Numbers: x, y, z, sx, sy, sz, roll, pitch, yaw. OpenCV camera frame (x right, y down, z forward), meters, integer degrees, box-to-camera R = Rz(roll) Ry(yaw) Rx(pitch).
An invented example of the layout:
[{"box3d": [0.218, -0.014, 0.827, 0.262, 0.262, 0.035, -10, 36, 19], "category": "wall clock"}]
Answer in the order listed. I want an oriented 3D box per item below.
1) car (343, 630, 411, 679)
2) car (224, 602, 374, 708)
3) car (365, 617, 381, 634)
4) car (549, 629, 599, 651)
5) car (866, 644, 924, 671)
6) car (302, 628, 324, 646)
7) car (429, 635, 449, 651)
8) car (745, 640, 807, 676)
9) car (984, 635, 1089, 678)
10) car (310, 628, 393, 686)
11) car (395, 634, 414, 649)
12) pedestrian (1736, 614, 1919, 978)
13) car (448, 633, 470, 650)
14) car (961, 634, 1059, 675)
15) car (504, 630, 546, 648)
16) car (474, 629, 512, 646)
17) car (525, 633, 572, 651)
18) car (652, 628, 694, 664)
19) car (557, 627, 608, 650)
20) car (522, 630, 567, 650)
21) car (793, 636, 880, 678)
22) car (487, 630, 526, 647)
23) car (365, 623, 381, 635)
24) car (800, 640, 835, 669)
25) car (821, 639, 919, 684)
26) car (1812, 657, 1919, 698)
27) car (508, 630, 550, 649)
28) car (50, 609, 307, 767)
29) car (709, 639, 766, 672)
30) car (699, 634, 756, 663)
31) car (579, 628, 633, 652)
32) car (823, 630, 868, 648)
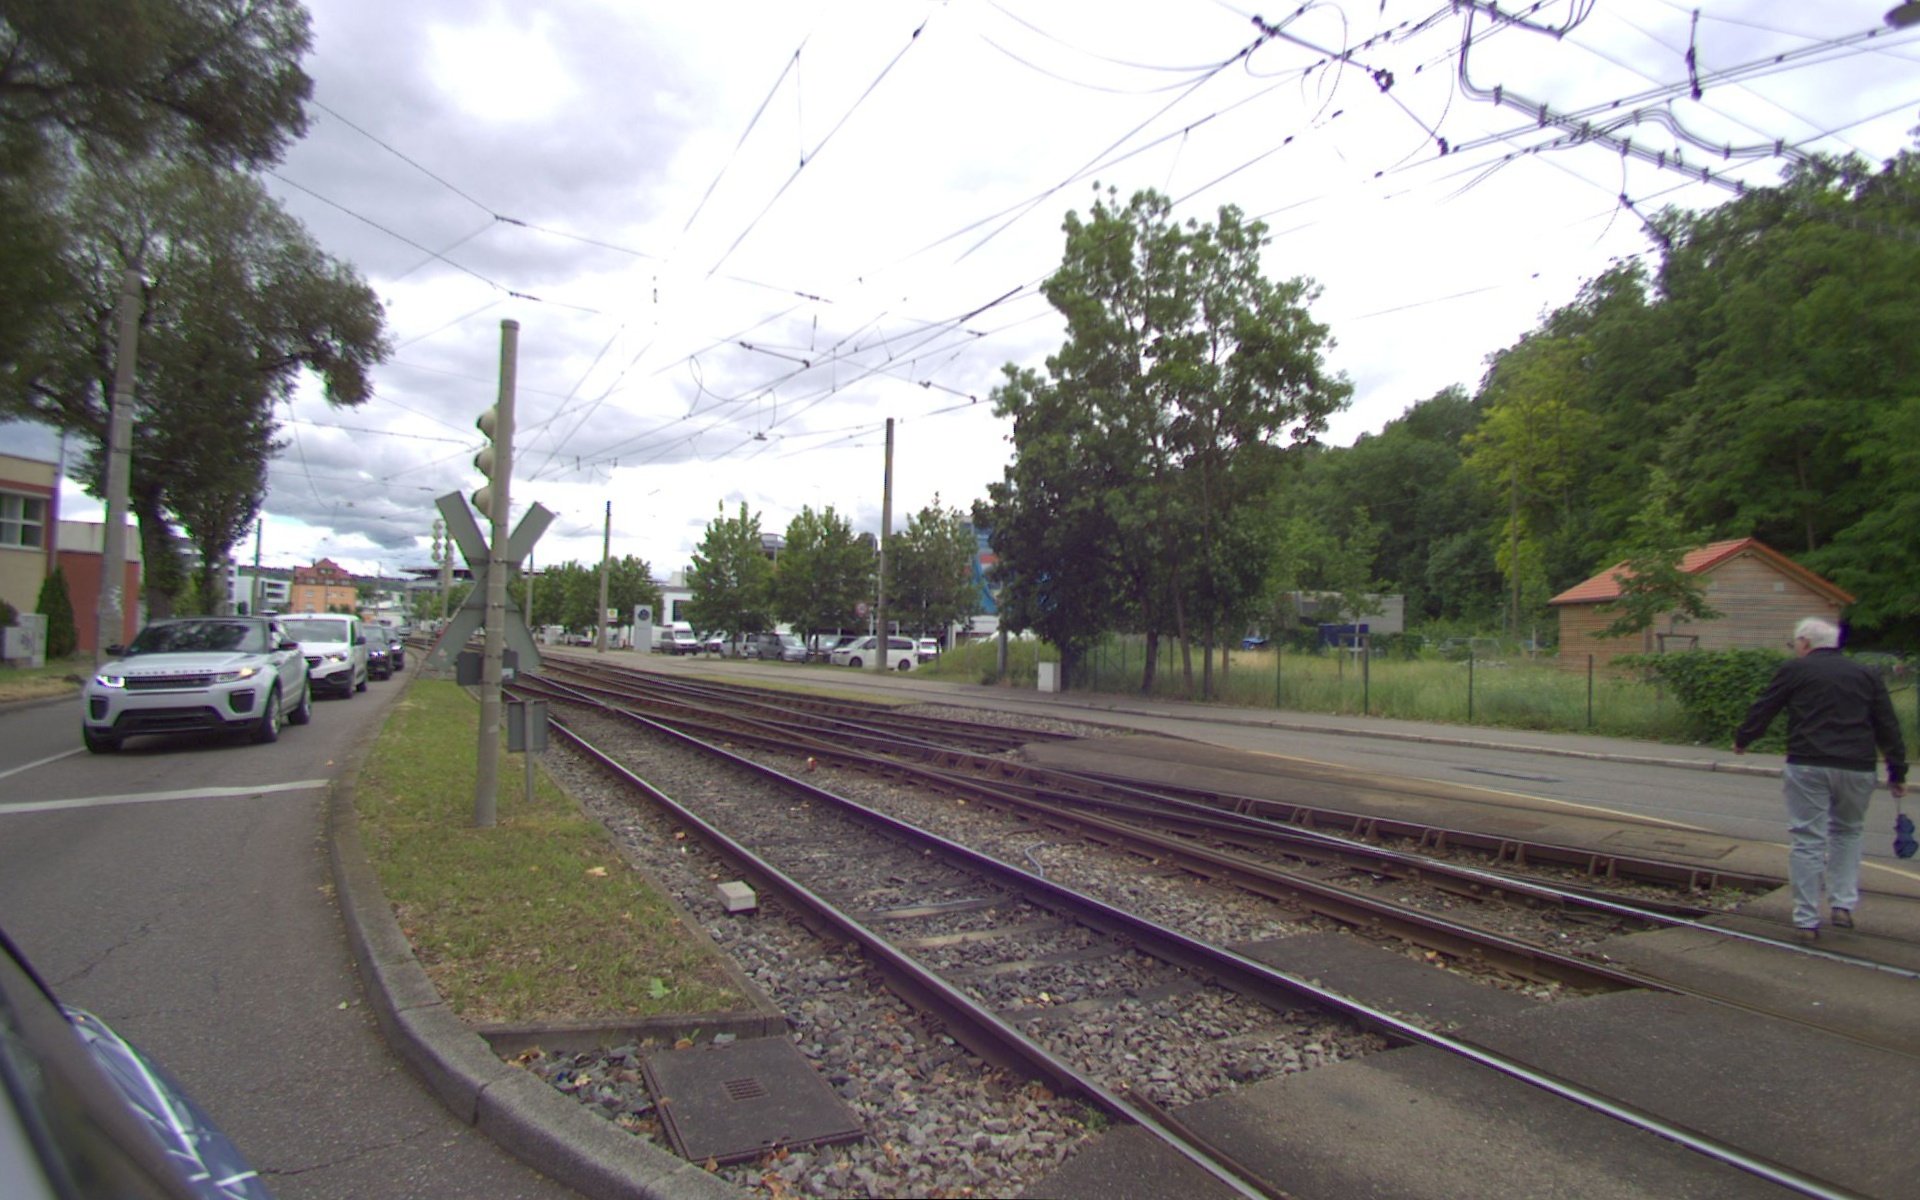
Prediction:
[{"box3d": [-20.764, 1.875, 36.056, 1.966, 1.568, 4.574, 1, -1, -30], "category": "car"}, {"box3d": [-14.072, 1.142, 21.850, 1.965, 2.017, 5.050, 2, -3, -25], "category": "car"}, {"box3d": [-101.423, 4.426, 174.948, 2.370, 2.970, 4.763, 0, -1, -31], "category": "car"}, {"box3d": [-40.767, 4.201, 106.980, 4.563, 2.225, 2.114, 0, -1, -36], "category": "car"}, {"box3d": [-4.881, 4.286, 75.943, 4.169, 1.850, 1.984, -1, -1, -9], "category": "car"}, {"box3d": [-72.099, 4.091, 112.816, 1.874, 1.730, 4.148, 8, -5, -32], "category": "car"}, {"box3d": [-60.547, 4.953, 117.655, 1.874, 1.731, 4.149, 1, 0, -30], "category": "car"}, {"box3d": [-11.859, 3.662, 64.909, 2.107, 2.132, 4.788, 0, -1, -35], "category": "car"}, {"box3d": [4.434, 3.276, 59.126, 5.772, 2.285, 2.056, -1, -1, -6], "category": "car"}, {"box3d": [-18.097, 1.624, 30.187, 1.966, 1.568, 4.574, 1, -1, -30], "category": "car"}, {"box3d": [-74.233, 5.534, 135.170, 1.874, 1.730, 4.149, 9, -4, -30], "category": "car"}, {"box3d": [4.841, 0.969, 5.509, 0.810, 1.773, 1.109, -2, -1, 31], "category": "pedestrian"}, {"box3d": [-60.871, 5.019, 122.920, 1.874, 1.730, 4.149, 9, -4, -30], "category": "car"}, {"box3d": [3.086, 3.351, 62.675, 5.762, 2.285, 2.056, -1, -1, -6], "category": "car"}, {"box3d": [-55.558, 4.957, 129.239, 4.563, 2.225, 2.114, 0, -1, -36], "category": "car"}, {"box3d": [-66.546, 5.368, 144.297, 4.563, 2.225, 2.114, 0, -1, -36], "category": "car"}, {"box3d": [-47.443, 4.818, 116.682, 4.563, 1.854, 2.114, 0, -1, -36], "category": "car"}, {"box3d": [-25.356, 3.981, 89.260, 2.282, 3.034, 6.178, 0, -1, -28], "category": "car"}, {"box3d": [-39.084, 3.940, 104.722, 4.563, 2.225, 2.114, 0, -1, -36], "category": "car"}, {"box3d": [-48.745, 4.685, 118.720, 4.563, 2.225, 2.114, 0, -1, -36], "category": "car"}, {"box3d": [-7.346, 3.329, 60.301, 4.695, 2.285, 1.986, 0, -1, -31], "category": "car"}, {"box3d": [-61.524, 5.179, 137.332, 4.563, 2.225, 2.114, 0, -1, -36], "category": "car"}, {"box3d": [-98.438, 4.825, 169.651, 1.967, 2.029, 4.010, 0, -1, -35], "category": "car"}, {"box3d": [-10.662, 4.032, 75.258, 1.870, 1.907, 4.610, -1, -1, -17], "category": "car"}, {"box3d": [-5.072, 3.420, 57.323, 5.182, 2.285, 2.006, 0, -1, -31], "category": "car"}, {"box3d": [36.315, 3.039, 40.210, 1.732, 1.388, 3.682, -1, -1, -1], "category": "car"}, {"box3d": [-54.166, 4.903, 127.213, 4.563, 2.225, 2.114, 0, -1, -36], "category": "car"}, {"box3d": [-9.949, 1.014, 13.274, 1.965, 1.703, 4.282, 0, -2, -28], "category": "car"}, {"box3d": [-15.436, 3.816, 70.102, 2.107, 2.132, 4.787, 0, -1, -36], "category": "car"}, {"box3d": [-23.438, 4.870, 102.433, 2.311, 2.642, 5.990, -1, -1, 28], "category": "car"}, {"box3d": [-34.449, 3.890, 98.630, 4.563, 2.225, 2.114, 0, -1, -36], "category": "car"}, {"box3d": [-13.181, 4.495, 116.432, 5.146, 1.850, 1.983, -1, -1, -7], "category": "car"}]
